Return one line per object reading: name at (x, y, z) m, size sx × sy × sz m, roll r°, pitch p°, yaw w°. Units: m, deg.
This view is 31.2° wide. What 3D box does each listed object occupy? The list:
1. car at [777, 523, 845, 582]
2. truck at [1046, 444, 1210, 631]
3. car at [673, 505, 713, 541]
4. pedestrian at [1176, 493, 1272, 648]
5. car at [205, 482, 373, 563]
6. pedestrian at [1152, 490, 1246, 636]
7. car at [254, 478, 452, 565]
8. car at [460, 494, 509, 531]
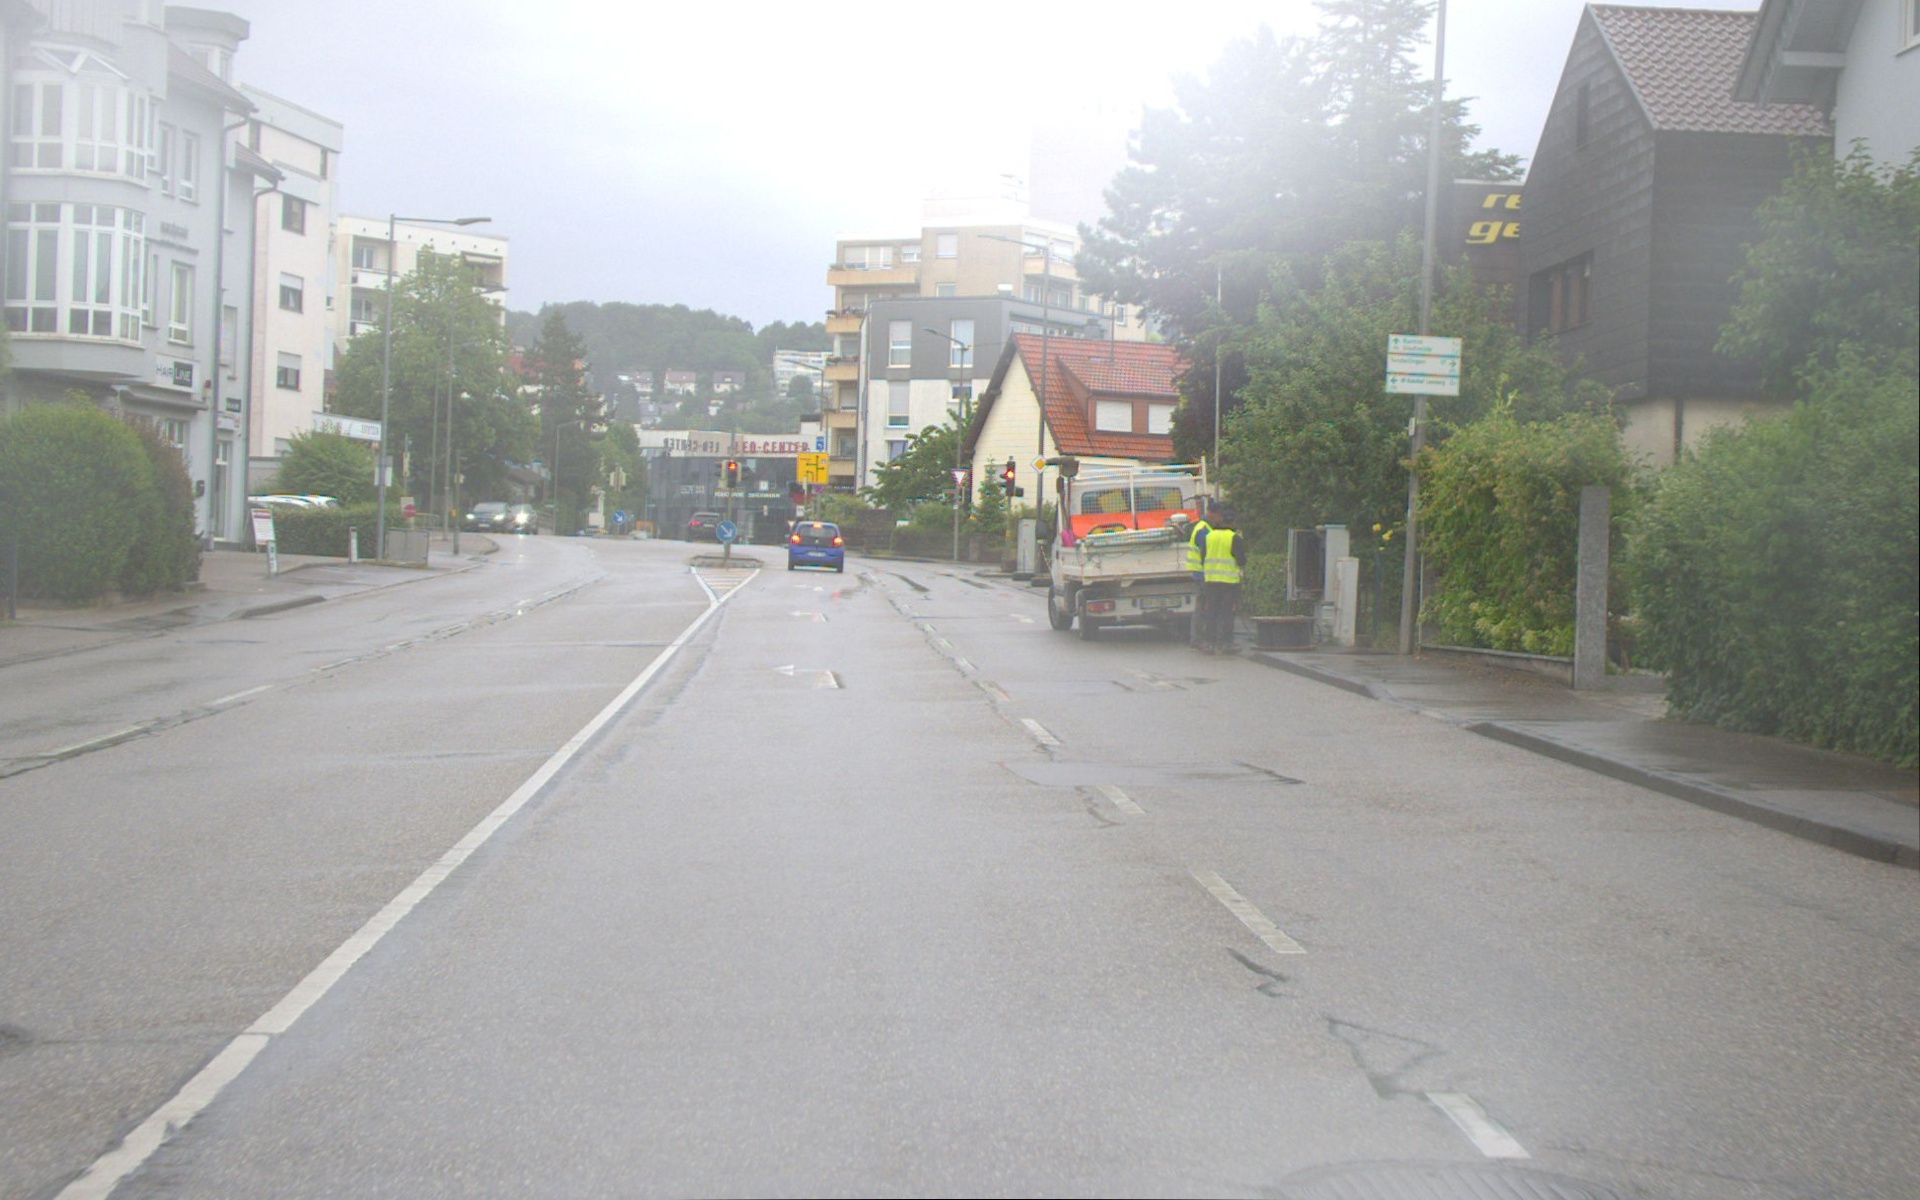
car at (-4.335, -1.399, 100.427) m, size 1.794 × 1.664 × 4.000 m, roll 1°, pitch 1°, yaw 0°
truck at (2.167, -0.816, 45.032) m, size 1.993 × 2.295 × 4.000 m, roll 1°, pitch 1°, yaw 2°
car at (-12.504, -3.597, 161.196) m, size 1.579 × 1.433 × 4.000 m, roll 6°, pitch 0°, yaw -2°
pedestrian at (3.097, -0.355, 40.393) m, size 0.822 × 1.791 × 0.800 m, roll 1°, pitch 1°, yaw -20°
car at (-18.375, -2.117, 94.211) m, size 3.988 × 2.007 × 1.999 m, roll 3°, pitch 1°, yaw 9°
pedestrian at (2.872, -0.448, 41.308) m, size 0.822 × 1.720 × 0.841 m, roll 1°, pitch 1°, yaw -19°
car at (-15.706, -2.028, 89.041) m, size 4.525 × 2.007 × 1.999 m, roll 3°, pitch 1°, yaw 13°
car at (-21.809, -3.993, 157.683) m, size 1.659 × 1.458 × 4.000 m, roll 6°, pitch 0°, yaw -2°
